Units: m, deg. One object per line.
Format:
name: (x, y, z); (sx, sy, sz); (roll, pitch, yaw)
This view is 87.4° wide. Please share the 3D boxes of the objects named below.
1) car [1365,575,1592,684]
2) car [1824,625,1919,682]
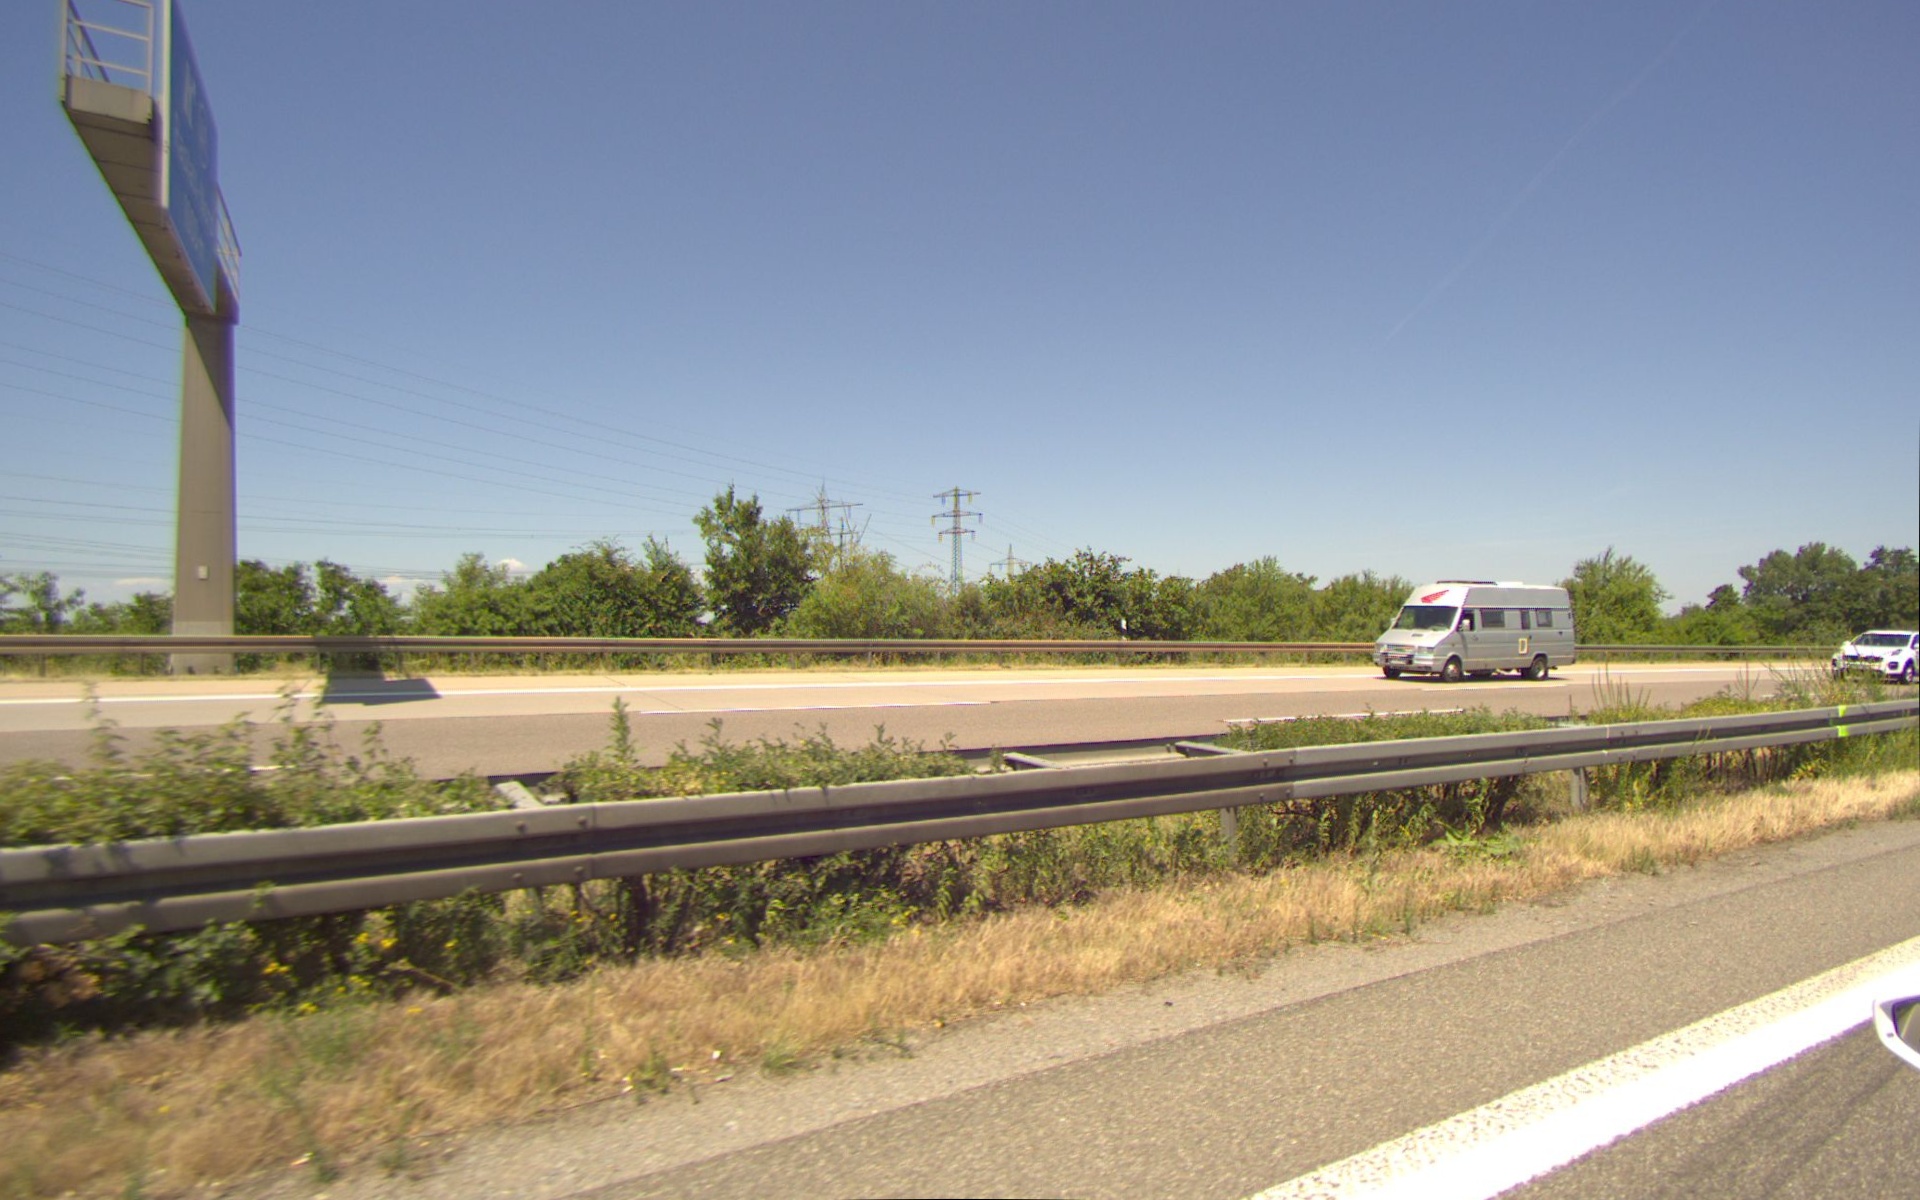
car: (14.441, 0.848, 27.808); (7.095, 2.721, 1.985); (2, -1, -29)
car: (30.145, 1.728, 32.571); (4.845, 1.703, 1.779); (2, -1, -31)
